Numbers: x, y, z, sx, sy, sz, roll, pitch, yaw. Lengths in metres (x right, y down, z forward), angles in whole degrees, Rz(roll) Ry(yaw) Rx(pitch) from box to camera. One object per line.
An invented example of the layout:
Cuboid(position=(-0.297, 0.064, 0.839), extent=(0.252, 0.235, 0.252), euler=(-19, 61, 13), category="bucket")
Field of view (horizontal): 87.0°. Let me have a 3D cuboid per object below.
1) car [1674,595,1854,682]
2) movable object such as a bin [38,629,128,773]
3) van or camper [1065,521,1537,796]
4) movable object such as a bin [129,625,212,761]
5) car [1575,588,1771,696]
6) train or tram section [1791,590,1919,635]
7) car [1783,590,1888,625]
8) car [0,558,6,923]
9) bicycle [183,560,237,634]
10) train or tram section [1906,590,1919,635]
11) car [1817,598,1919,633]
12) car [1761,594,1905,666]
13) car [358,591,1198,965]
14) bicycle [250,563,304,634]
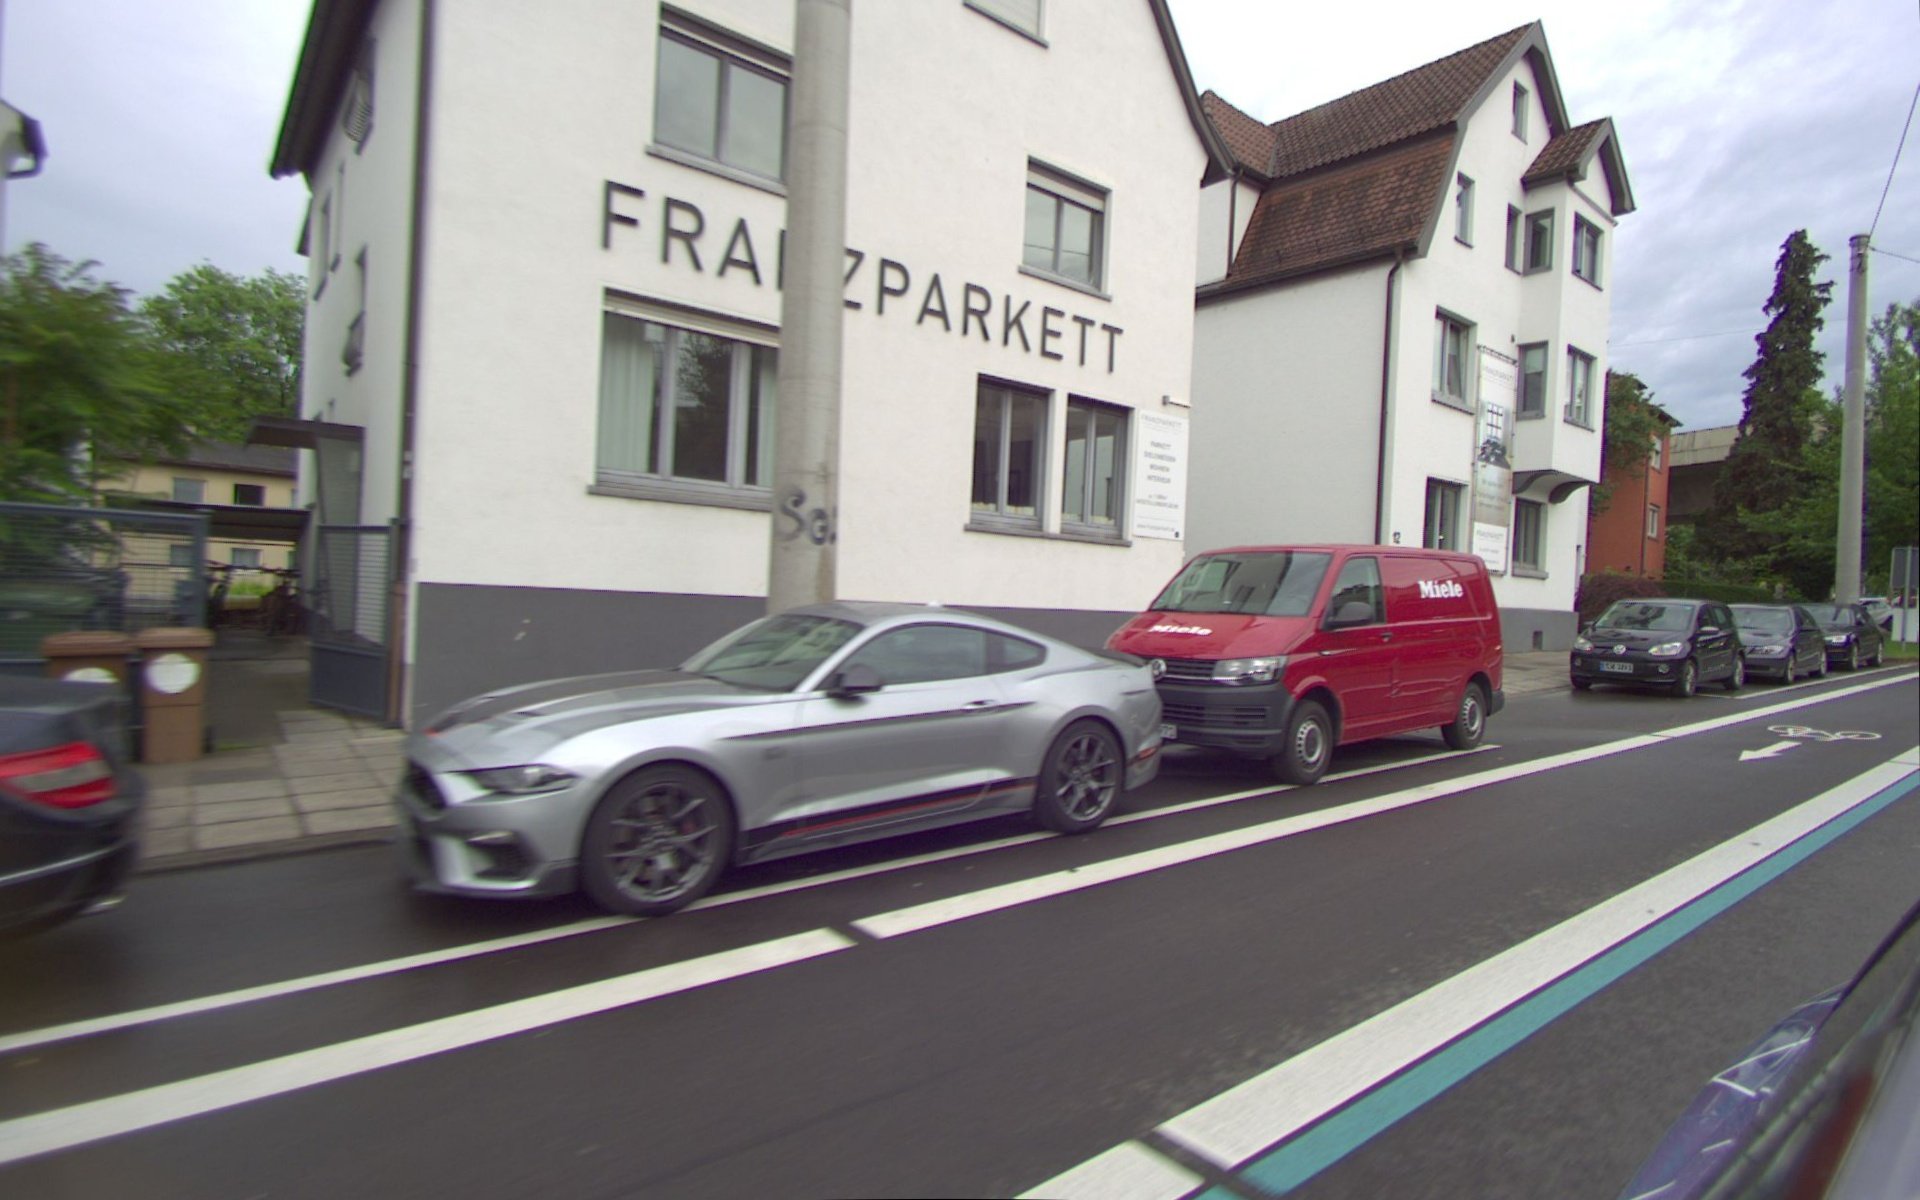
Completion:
Cuboid(position=(15.294, 0.648, 19.161), extent=(4.483, 1.430, 1.716), euler=(0, 1, -39), category="car")
Cuboid(position=(-5.952, 0.661, 6.882), extent=(0.440, 0.890, 0.588), euler=(0, 2, -41), category="movable object such as a bin")
Cuboid(position=(3.381, 0.378, 9.446), extent=(4.906, 1.944, 1.855), euler=(0, 2, -40), category="van or camper")
Cuboid(position=(-5.689, 0.645, 7.288), extent=(0.440, 0.890, 0.588), euler=(0, 2, -41), category="movable object such as a bin")
Cuboid(position=(11.587, 0.588, 16.385), extent=(3.652, 1.469, 1.582), euler=(-1, 3, -38), category="car")
Cuboid(position=(89.287, 1.068, 100.365), extent=(2.836, 4.021, 19.240), euler=(0, 0, 15), category="train or tram section")
Cuboid(position=(44.100, 0.387, 51.033), extent=(3.940, 1.651, 1.971), euler=(1, 0, -11), category="car")
Cuboid(position=(-5.195, 0.601, 2.469), extent=(4.062, 1.558, 1.636), euler=(0, -1, -41), category="car")
Cuboid(position=(-11.276, -0.067, 15.210), extent=(0.612, 1.037, 1.585), euler=(0, 2, -37), category="bicycle")
Cuboid(position=(83.969, 1.131, 81.780), extent=(2.838, 4.011, 19.223), euler=(0, 0, 17), category="train or tram section")
Cuboid(position=(43.460, 0.720, 48.437), extent=(3.658, 1.541, 1.806), euler=(1, 0, -11), category="car")
Cuboid(position=(19.737, 0.605, 22.821), extent=(4.483, 1.441, 1.681), euler=(0, 1, -39), category="car")
Cuboid(position=(-0.791, 0.670, 5.978), extent=(4.584, 1.393, 1.801), euler=(0, 1, -38), category="car")
Cuboid(position=(-10.635, -0.048, 15.742), extent=(0.612, 1.037, 1.585), euler=(0, 2, -37), category="bicycle")
